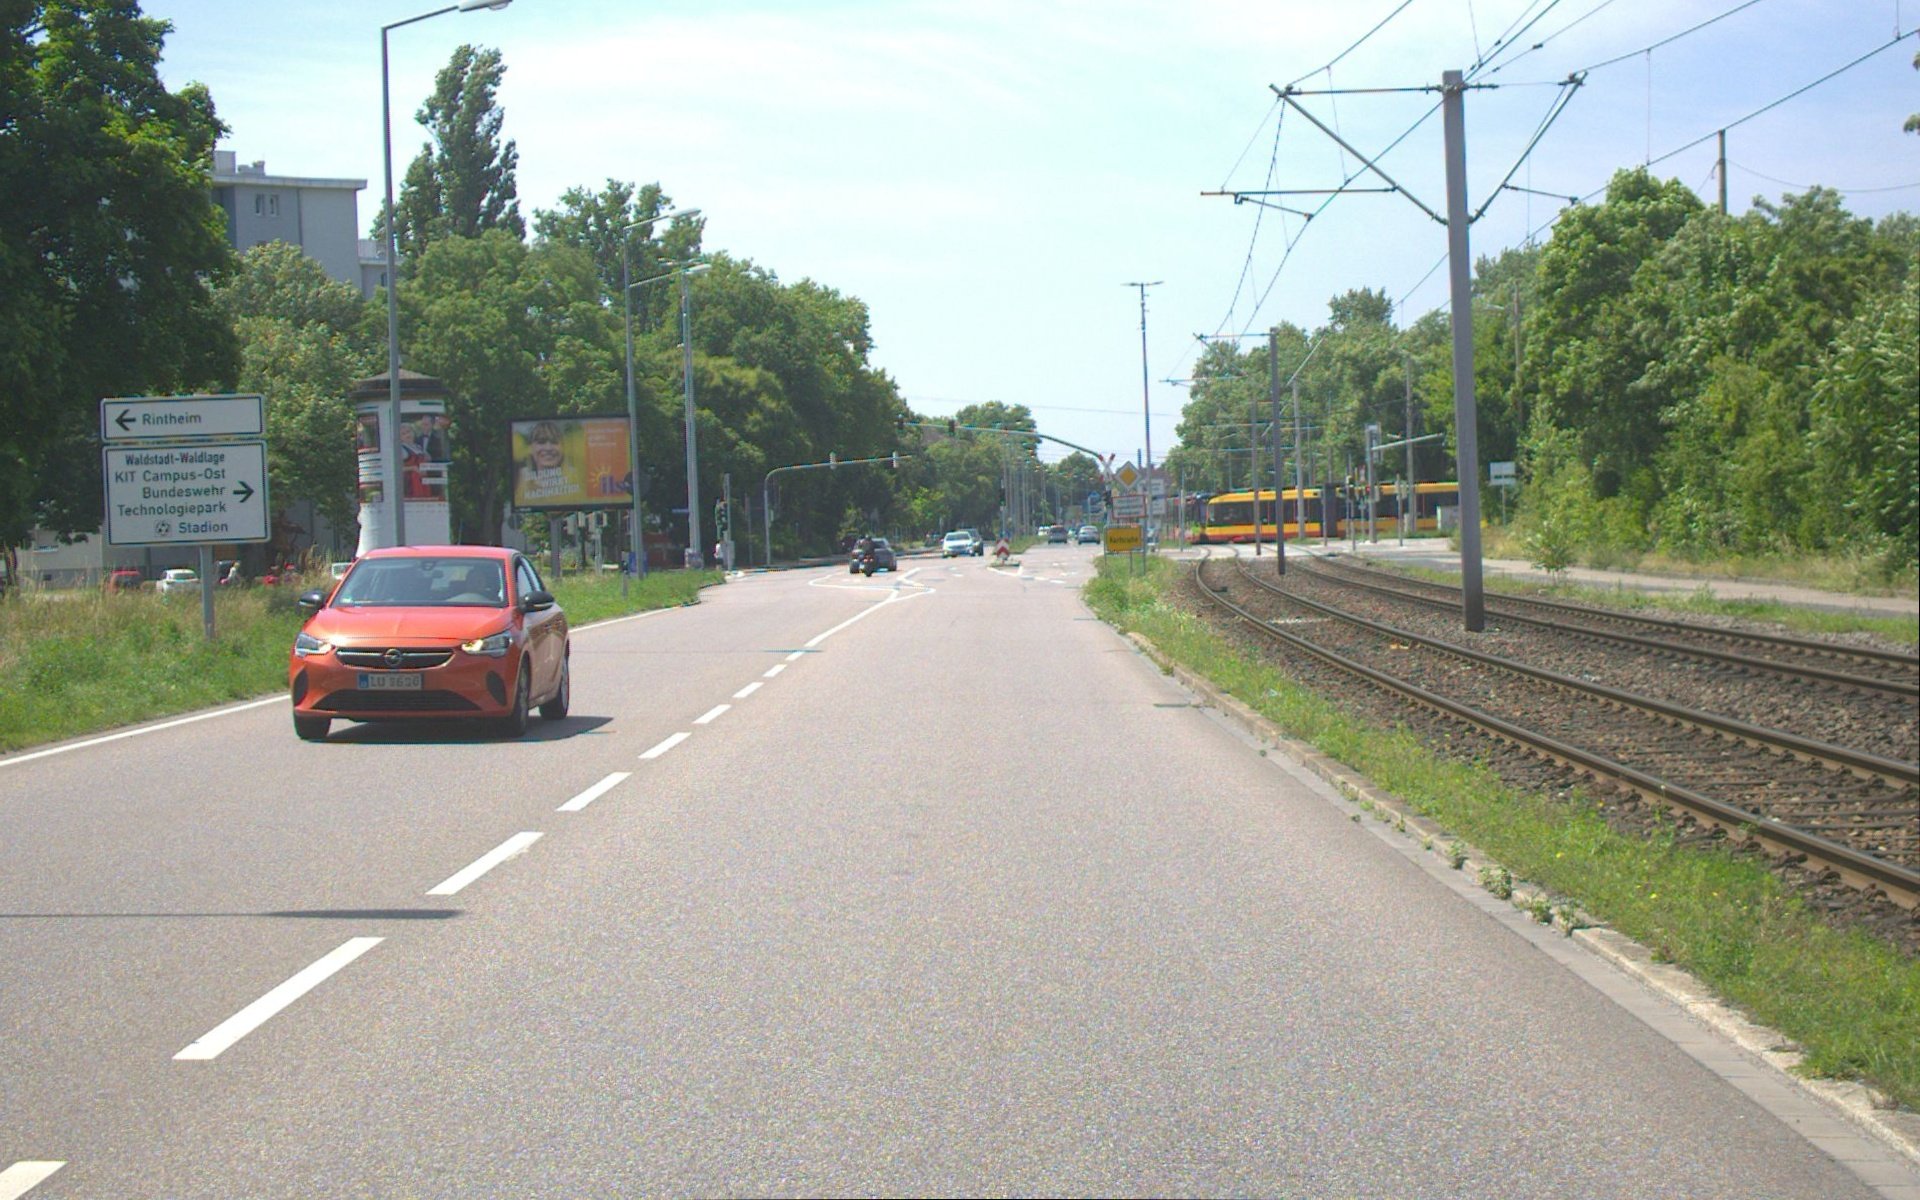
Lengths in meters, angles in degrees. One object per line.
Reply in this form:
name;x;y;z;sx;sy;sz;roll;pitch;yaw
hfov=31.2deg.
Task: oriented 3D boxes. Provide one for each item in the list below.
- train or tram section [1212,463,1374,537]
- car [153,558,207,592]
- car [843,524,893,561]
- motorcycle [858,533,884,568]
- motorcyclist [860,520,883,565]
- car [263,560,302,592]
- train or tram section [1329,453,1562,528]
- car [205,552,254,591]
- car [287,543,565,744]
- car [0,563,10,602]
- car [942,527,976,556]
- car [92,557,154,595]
train or tram section;21.113;-6.281;219.512;2.914;3.906;14.043;0;-2;-28
car;-37.280;-1.194;164.223;1.704;1.586;4.001;-2;1;-25
car;-3.780;-2.391;141.983;1.906;1.493;4.630;-1;1;0
motorcycle;-3.278;-1.836;126.442;0.847;1.251;2.449;-1;1;1
motorcyclist;-3.273;-2.117;126.615;0.790;1.637;1.211;-1;1;0
car;-32.632;-1.166;165.621;1.617;1.459;4.001;-1;1;-14
train or tram section;29.709;-6.663;210.973;13.939;3.906;2.919;-2;-2;28
car;-35.093;-1.388;165.031;1.704;1.794;4.001;-1;1;-20
car;-4.058;0.276;26.656;1.679;1.394;4.001;-1;1;-2
car;-45.806;-0.805;161.650;1.846;1.705;4.001;-2;2;-20
car;-0.064;-3.385;198.664;1.784;1.623;3.865;-2;1;2
car;-39.761;-1.136;163.274;1.846;1.662;4.000;-3;1;-28
